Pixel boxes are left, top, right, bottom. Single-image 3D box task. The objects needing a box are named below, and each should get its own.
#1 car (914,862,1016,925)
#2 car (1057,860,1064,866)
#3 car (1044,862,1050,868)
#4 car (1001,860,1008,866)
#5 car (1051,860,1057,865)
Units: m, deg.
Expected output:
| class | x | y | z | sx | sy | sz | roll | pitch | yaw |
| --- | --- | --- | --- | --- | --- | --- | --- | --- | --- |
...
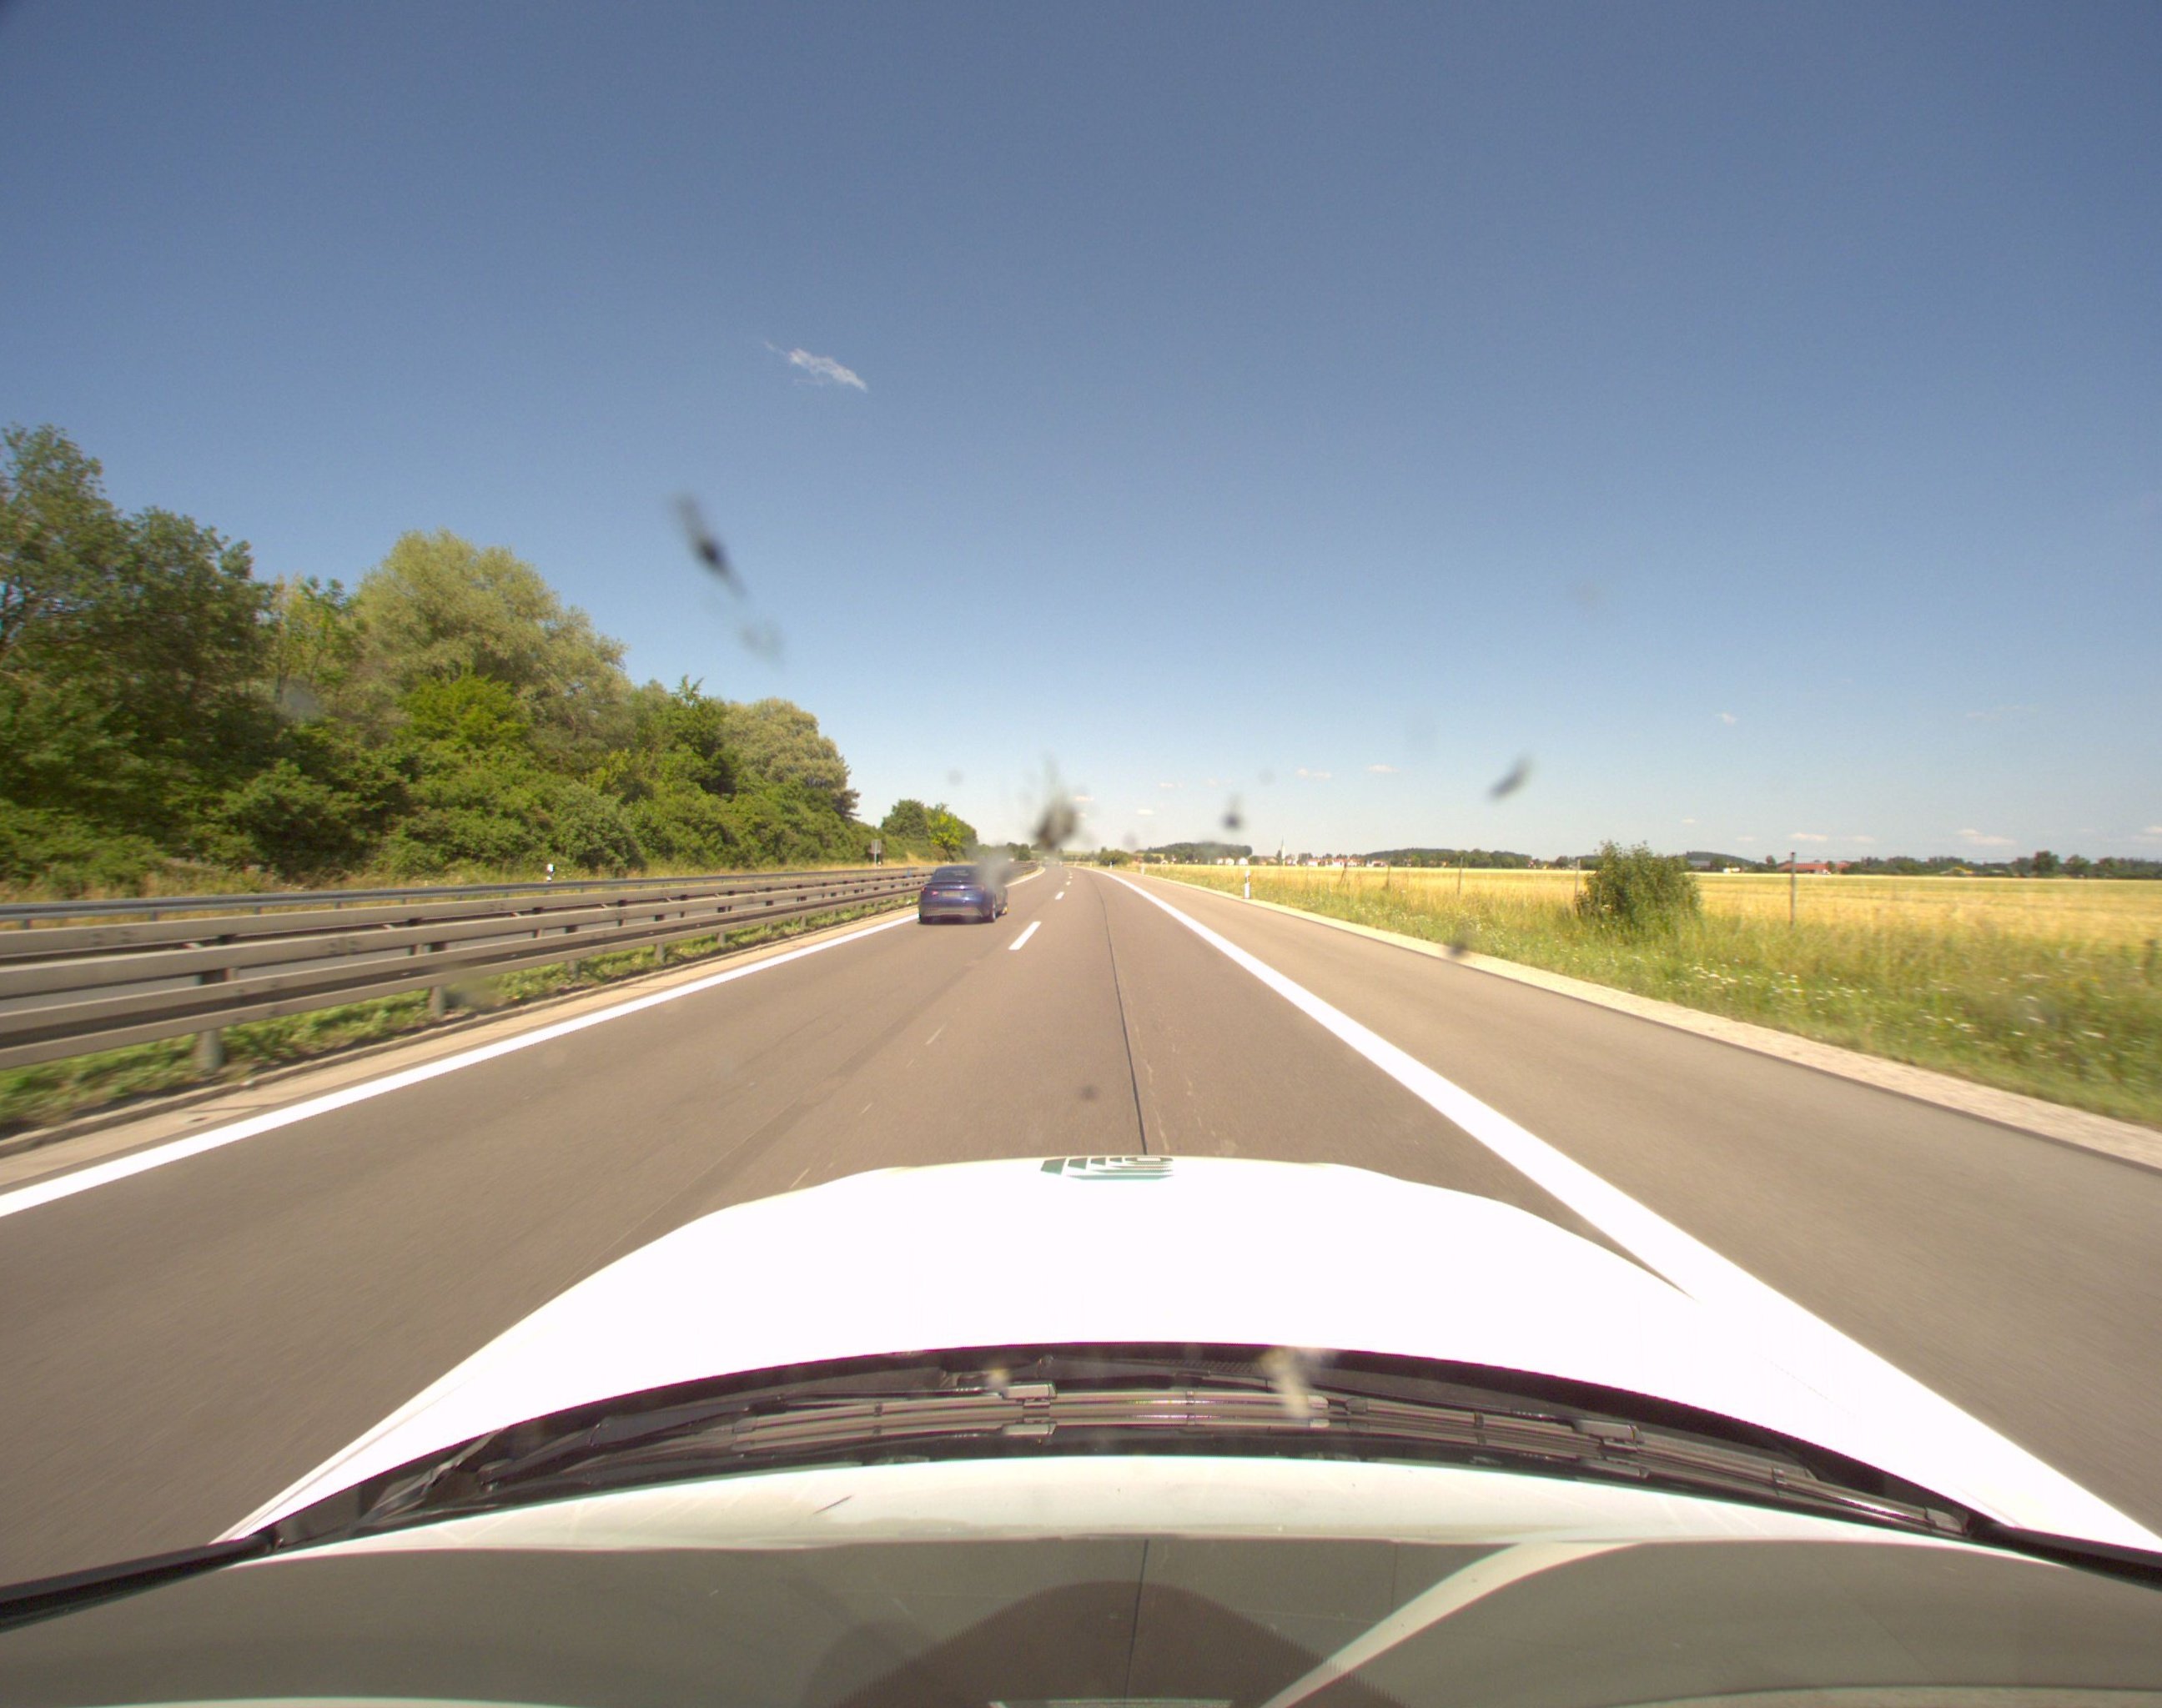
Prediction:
| class | x | y | z | sx | sy | sz | roll | pitch | yaw |
| --- | --- | --- | --- | --- | --- | --- | --- | --- | --- |
| car | -2.942 | 0.943 | 21.927 | 1.841 | 1.433 | 5.866 | 0 | 0 | 1 |
| car | -5.267 | 2.428 | 213.464 | 1.673 | 1.453 | 3.586 | 0 | -1 | -4 |
| car | -8.769 | 2.858 | 210.481 | 1.672 | 1.453 | 3.588 | 0 | -1 | -2 |
| car | -22.810 | 2.657 | 241.889 | 1.747 | 1.565 | 4.576 | 0 | -1 | -2 |
| car | -8.347 | 2.749 | 253.321 | 1.672 | 1.453 | 3.588 | 0 | -1 | -3 |
